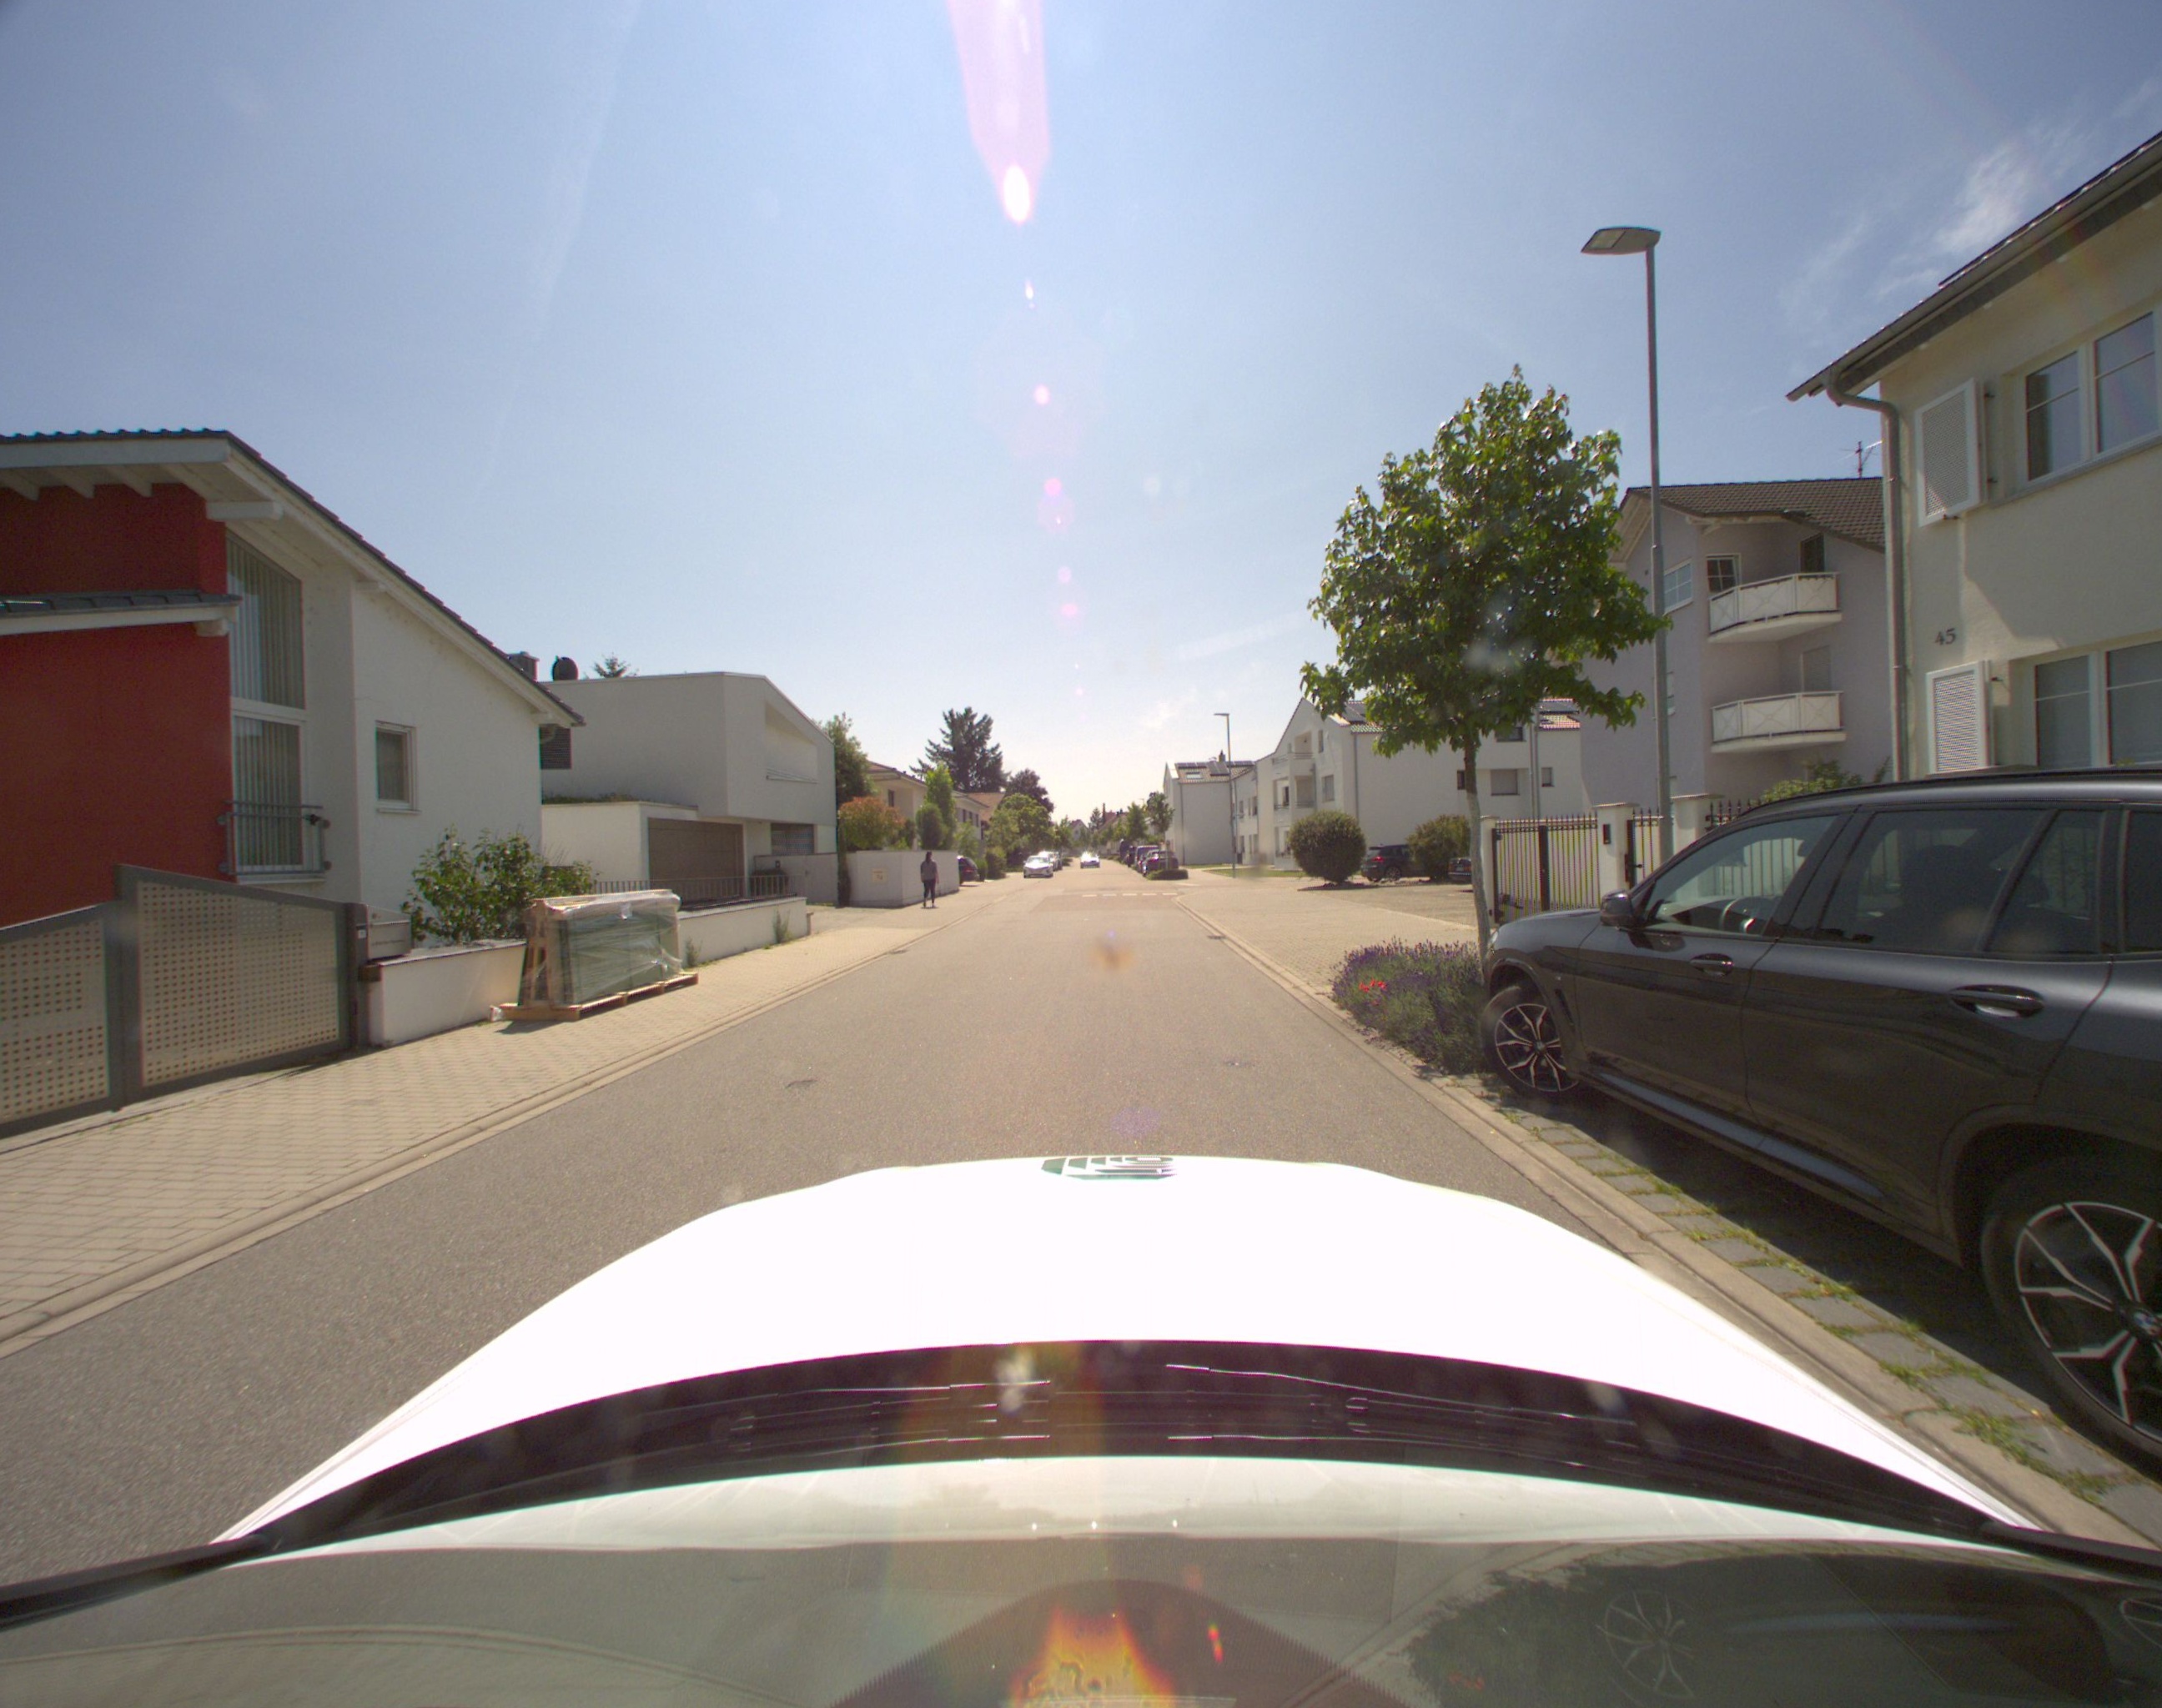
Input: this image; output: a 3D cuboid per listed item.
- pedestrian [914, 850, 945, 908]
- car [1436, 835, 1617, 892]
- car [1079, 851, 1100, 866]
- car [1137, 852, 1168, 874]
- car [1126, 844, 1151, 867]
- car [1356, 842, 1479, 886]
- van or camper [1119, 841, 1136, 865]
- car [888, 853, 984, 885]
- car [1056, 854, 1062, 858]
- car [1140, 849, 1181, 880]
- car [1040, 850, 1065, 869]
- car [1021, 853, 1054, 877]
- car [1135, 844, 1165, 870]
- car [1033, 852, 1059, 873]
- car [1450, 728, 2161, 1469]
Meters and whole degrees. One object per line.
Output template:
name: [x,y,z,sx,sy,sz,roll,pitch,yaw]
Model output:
pedestrian: [-4.695,0.753,25.305,0.711,1.747,0.961,-2,0,2]
car: [12.416,0.244,22.856,4.190,1.374,1.663,-2,0,-2]
car: [0.899,0.428,81.359,1.845,1.478,4.704,-2,0,3]
car: [4.941,0.602,56.753,1.675,1.441,4.025,-2,0,-1]
car: [5.402,0.126,77.094,1.986,1.947,5.217,-3,0,2]
car: [12.829,0.367,31.237,3.971,1.467,1.759,-2,0,6]
van or camper: [5.815,-0.161,102.659,1.986,2.941,4.001,-2,0,1]
car: [-7.292,0.752,41.295,4.407,1.473,1.853,1,0,5]
car: [-6.915,0.695,257.739,1.657,1.250,3.933,-2,0,1]
car: [4.494,0.554,46.651,1.768,1.595,4.278,-4,0,-1]
car: [-2.671,0.519,76.921,1.986,1.680,4.216,-2,0,2]
car: [-2.908,0.727,55.383,1.845,1.488,4.387,-2,0,2]
car: [5.327,0.245,63.438,2.091,1.882,4.846,-2,0,3]
car: [-3.007,0.684,70.712,1.920,1.687,4.500,-2,0,2]
car: [3.360,0.496,3.285,1.807,1.656,4.567,-2,1,2]
